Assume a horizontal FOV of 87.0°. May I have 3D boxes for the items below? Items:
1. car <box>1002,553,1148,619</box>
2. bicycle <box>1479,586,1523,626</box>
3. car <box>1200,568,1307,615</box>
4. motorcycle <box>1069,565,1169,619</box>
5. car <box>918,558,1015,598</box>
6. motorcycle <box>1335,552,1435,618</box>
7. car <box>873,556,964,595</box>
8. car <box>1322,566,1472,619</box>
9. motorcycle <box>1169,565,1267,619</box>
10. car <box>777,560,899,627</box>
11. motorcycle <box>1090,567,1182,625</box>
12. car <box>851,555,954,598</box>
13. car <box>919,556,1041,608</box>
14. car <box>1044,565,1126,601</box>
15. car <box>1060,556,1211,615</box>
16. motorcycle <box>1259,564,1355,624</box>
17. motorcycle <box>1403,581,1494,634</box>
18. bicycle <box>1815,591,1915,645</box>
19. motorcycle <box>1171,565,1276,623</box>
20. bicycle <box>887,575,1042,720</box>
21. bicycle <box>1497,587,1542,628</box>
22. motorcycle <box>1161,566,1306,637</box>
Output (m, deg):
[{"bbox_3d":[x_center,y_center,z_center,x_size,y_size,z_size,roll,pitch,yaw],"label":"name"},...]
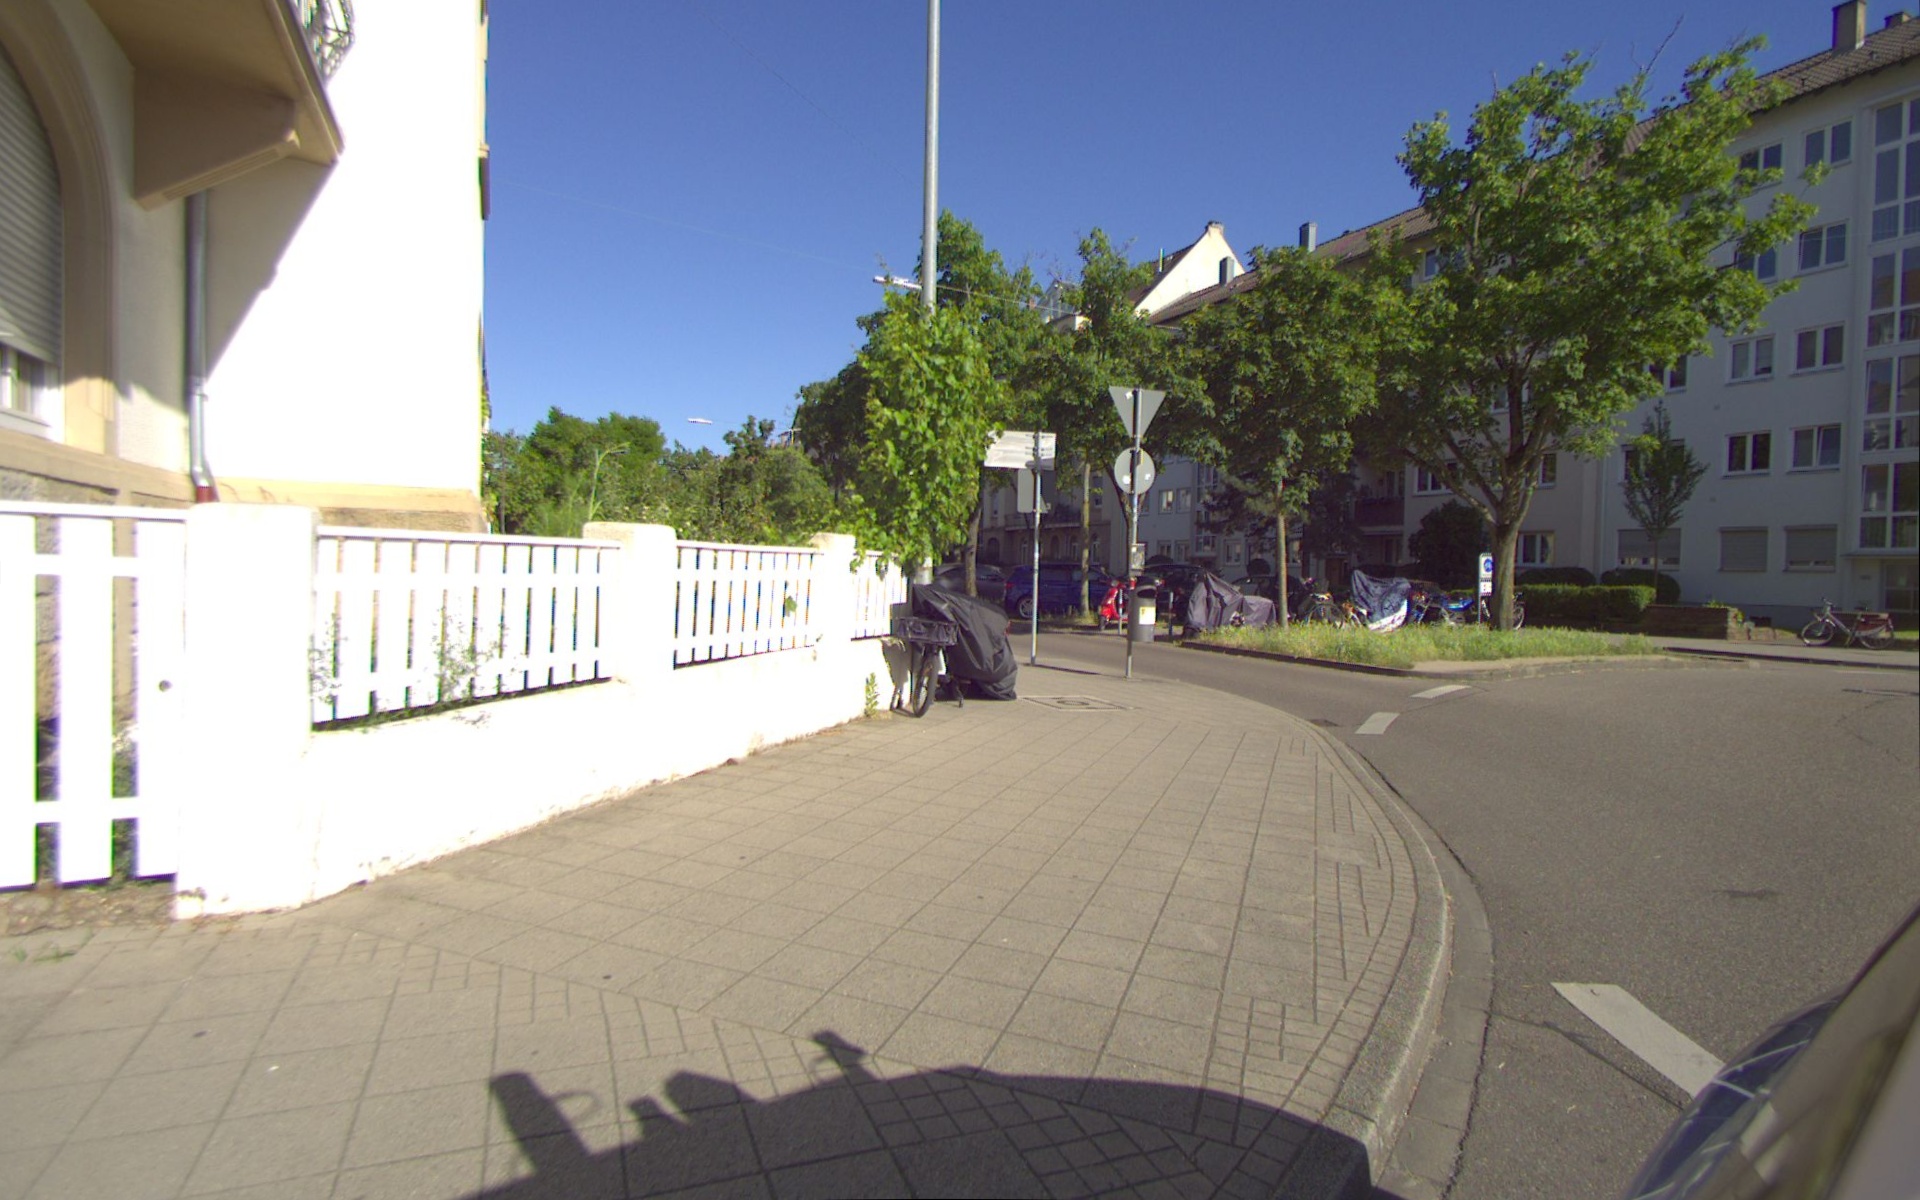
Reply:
[{"bbox_3d":[3.069,-0.407,27.621,3.807,1.660,1.802,1,2,4],"label":"car"},{"bbox_3d":[15.247,0.157,28.501,1.420,1.069,0.331,-2,3,-27],"label":"bicycle"},{"bbox_3d":[10.405,-0.336,36.148,1.747,1.503,4.010,2,2,-16],"label":"car"},{"bbox_3d":[3.931,-0.214,25.054,2.196,1.283,1.054,0,2,-25],"label":"motorcycle"},{"bbox_3d":[0.233,-0.920,42.056,3.922,1.567,1.783,1,2,-2],"label":"car"},{"bbox_3d":[8.977,-0.323,21.366,2.012,1.344,0.864,0,2,-28],"label":"motorcycle"},{"bbox_3d":[-1.962,-1.196,48.325,3.943,1.745,1.878,2,2,15],"label":"car"},{"bbox_3d":[13.229,-0.272,30.886,1.794,1.429,4.009,1,2,-24],"label":"car"},{"bbox_3d":[6.442,-0.210,25.280,2.196,1.283,1.054,0,2,-25],"label":"motorcycle"},{"bbox_3d":[-3.077,-0.222,24.782,1.718,1.462,3.963,-1,3,-27],"label":"car"},{"bbox_3d":[3.967,-0.096,22.820,1.855,1.252,0.891,0,2,-25],"label":"motorcycle"},{"bbox_3d":[-2.236,-0.937,39.966,3.924,1.610,1.887,1,2,0],"label":"car"},{"bbox_3d":[0.638,-0.610,33.499,3.924,1.610,1.707,1,2,1],"label":"car"},{"bbox_3d":[5.647,-0.801,46.256,1.748,1.503,4.007,1,2,-27],"label":"car"},{"bbox_3d":[5.114,-0.423,29.846,3.919,1.617,2.003,1,1,-7],"label":"car"},{"bbox_3d":[8.611,-0.159,25.107,2.083,1.409,1.065,0,2,-27],"label":"motorcycle"},{"bbox_3d":[10.751,0.166,22.275,1.807,1.086,0.816,2,1,-25],"label":"motorcycle"},{"bbox_3d":[20.275,0.384,22.715,0.377,1.091,1.627,-2,3,-30],"label":"bicycle"},{"bbox_3d":[6.215,-0.149,23.863,2.196,1.283,1.054,0,2,-25],"label":"motorcycle"},{"bbox_3d":[0.115,0.366,9.389,0.757,1.172,2.272,1,1,19],"label":"bicycle"},{"bbox_3d":[15.548,0.202,28.123,1.420,1.069,0.331,-2,3,-27],"label":"bicycle"},{"bbox_3d":[5.376,0.010,19.847,2.728,1.283,1.128,0,2,-30],"label":"motorcycle"}]
